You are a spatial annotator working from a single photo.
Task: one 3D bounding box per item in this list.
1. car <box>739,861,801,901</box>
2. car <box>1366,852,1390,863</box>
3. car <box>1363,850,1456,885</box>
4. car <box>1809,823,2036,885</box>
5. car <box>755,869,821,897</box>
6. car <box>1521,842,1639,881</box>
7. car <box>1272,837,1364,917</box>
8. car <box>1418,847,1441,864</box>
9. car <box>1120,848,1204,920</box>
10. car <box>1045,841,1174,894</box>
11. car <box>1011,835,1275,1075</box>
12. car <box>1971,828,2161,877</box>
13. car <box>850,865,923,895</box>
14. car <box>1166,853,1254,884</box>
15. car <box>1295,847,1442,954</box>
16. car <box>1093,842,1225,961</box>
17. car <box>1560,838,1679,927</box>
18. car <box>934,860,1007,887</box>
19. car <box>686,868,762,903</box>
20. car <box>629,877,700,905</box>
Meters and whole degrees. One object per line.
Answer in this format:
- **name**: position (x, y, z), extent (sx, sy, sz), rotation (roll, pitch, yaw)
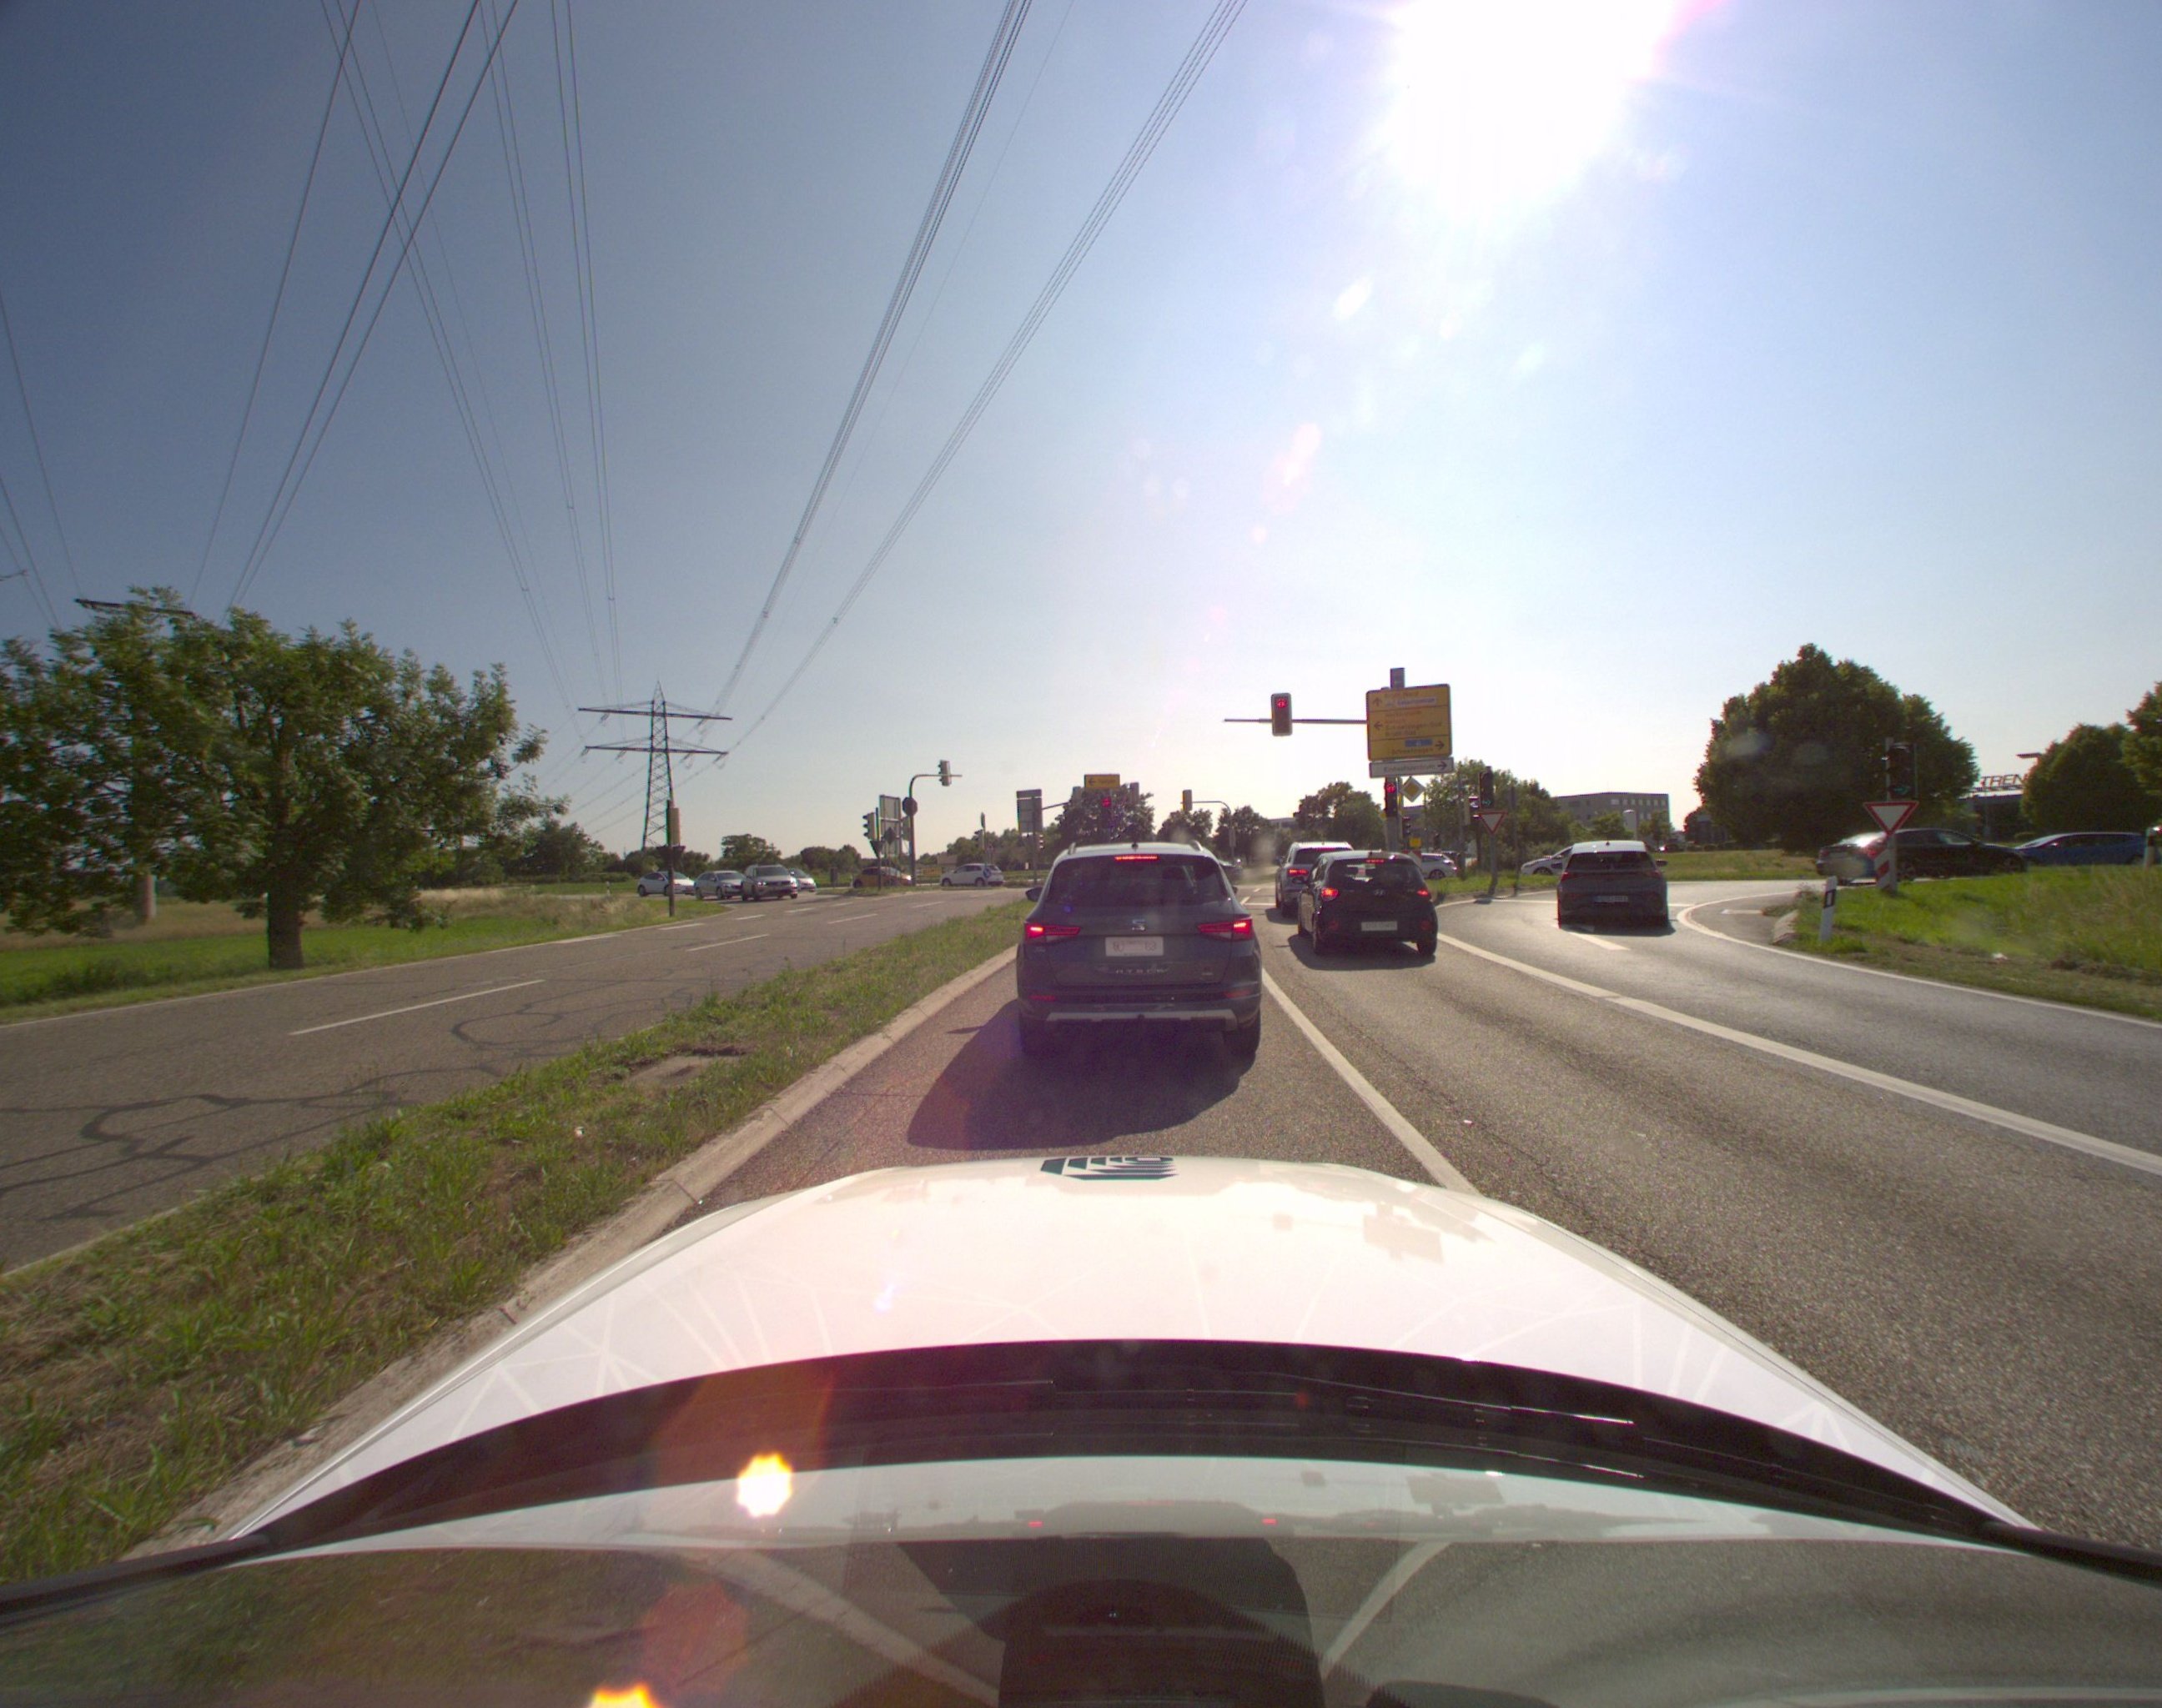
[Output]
- **car**: position (-14.109, 1.211, 36.802), extent (1.827, 1.651, 3.958), rotation (-1, -1, -33)
- **car**: position (42.667, 0.554, 117.049), extent (3.630, 1.548, 1.697), rotation (0, 0, -41)
- **car**: position (15.553, 0.647, 38.587), extent (3.831, 1.519, 1.819), rotation (-2, -1, 28)
- **car**: position (21.591, -0.007, 21.022), extent (3.969, 1.385, 1.649), rotation (-2, 0, 4)
- **car**: position (-18.789, 1.877, 52.207), extent (3.948, 1.651, 1.832), rotation (-2, -1, 30)
- **car**: position (19.642, 0.310, 32.100), extent (3.861, 1.465, 1.734), rotation (-1, 0, 35)
- **car**: position (5.435, 0.493, 19.025), extent (1.623, 1.677, 3.759), rotation (-1, 0, 9)
- **car**: position (39.870, 0.177, 93.115), extent (1.699, 1.819, 3.801), rotation (0, 0, 33)
- **car**: position (1.931, 0.638, 18.658), extent (1.732, 1.484, 3.632), rotation (0, 0, 8)
- **car**: position (1.167, 0.453, 32.037), extent (4.971, 1.918, 1.977), rotation (-1, 0, -38)
- **car**: position (0.488, 0.675, 7.185), extent (1.735, 1.569, 3.626), rotation (0, 0, 3)
- **car**: position (33.947, -0.026, 28.175), extent (3.830, 1.519, 1.819), rotation (-2, -1, 30)
- **car**: position (-11.361, 1.537, 47.550), extent (3.948, 1.651, 1.832), rotation (-2, -1, 30)
- **car**: position (6.920, 0.793, 43.784), extent (4.280, 1.519, 1.819), rotation (-2, -1, 28)
- **car**: position (4.332, 0.631, 12.719), extent (1.623, 1.448, 3.304), rotation (-1, 0, 9)
- **car**: position (1.146, 0.642, 12.610), extent (1.734, 1.569, 3.627), rotation (0, 0, 4)
- **car**: position (10.579, 0.460, 16.125), extent (1.756, 1.517, 4.126), rotation (0, 1, 32)
- **car**: position (-7.035, 1.247, 51.898), extent (4.280, 1.519, 1.819), rotation (-2, -1, 28)
- **car**: position (-18.311, 1.619, 41.748), extent (3.948, 1.651, 1.832), rotation (-2, -1, 37)
- **car**: position (-26.998, 2.416, 52.767), extent (4.700, 1.651, 1.832), rotation (-2, -1, 30)
